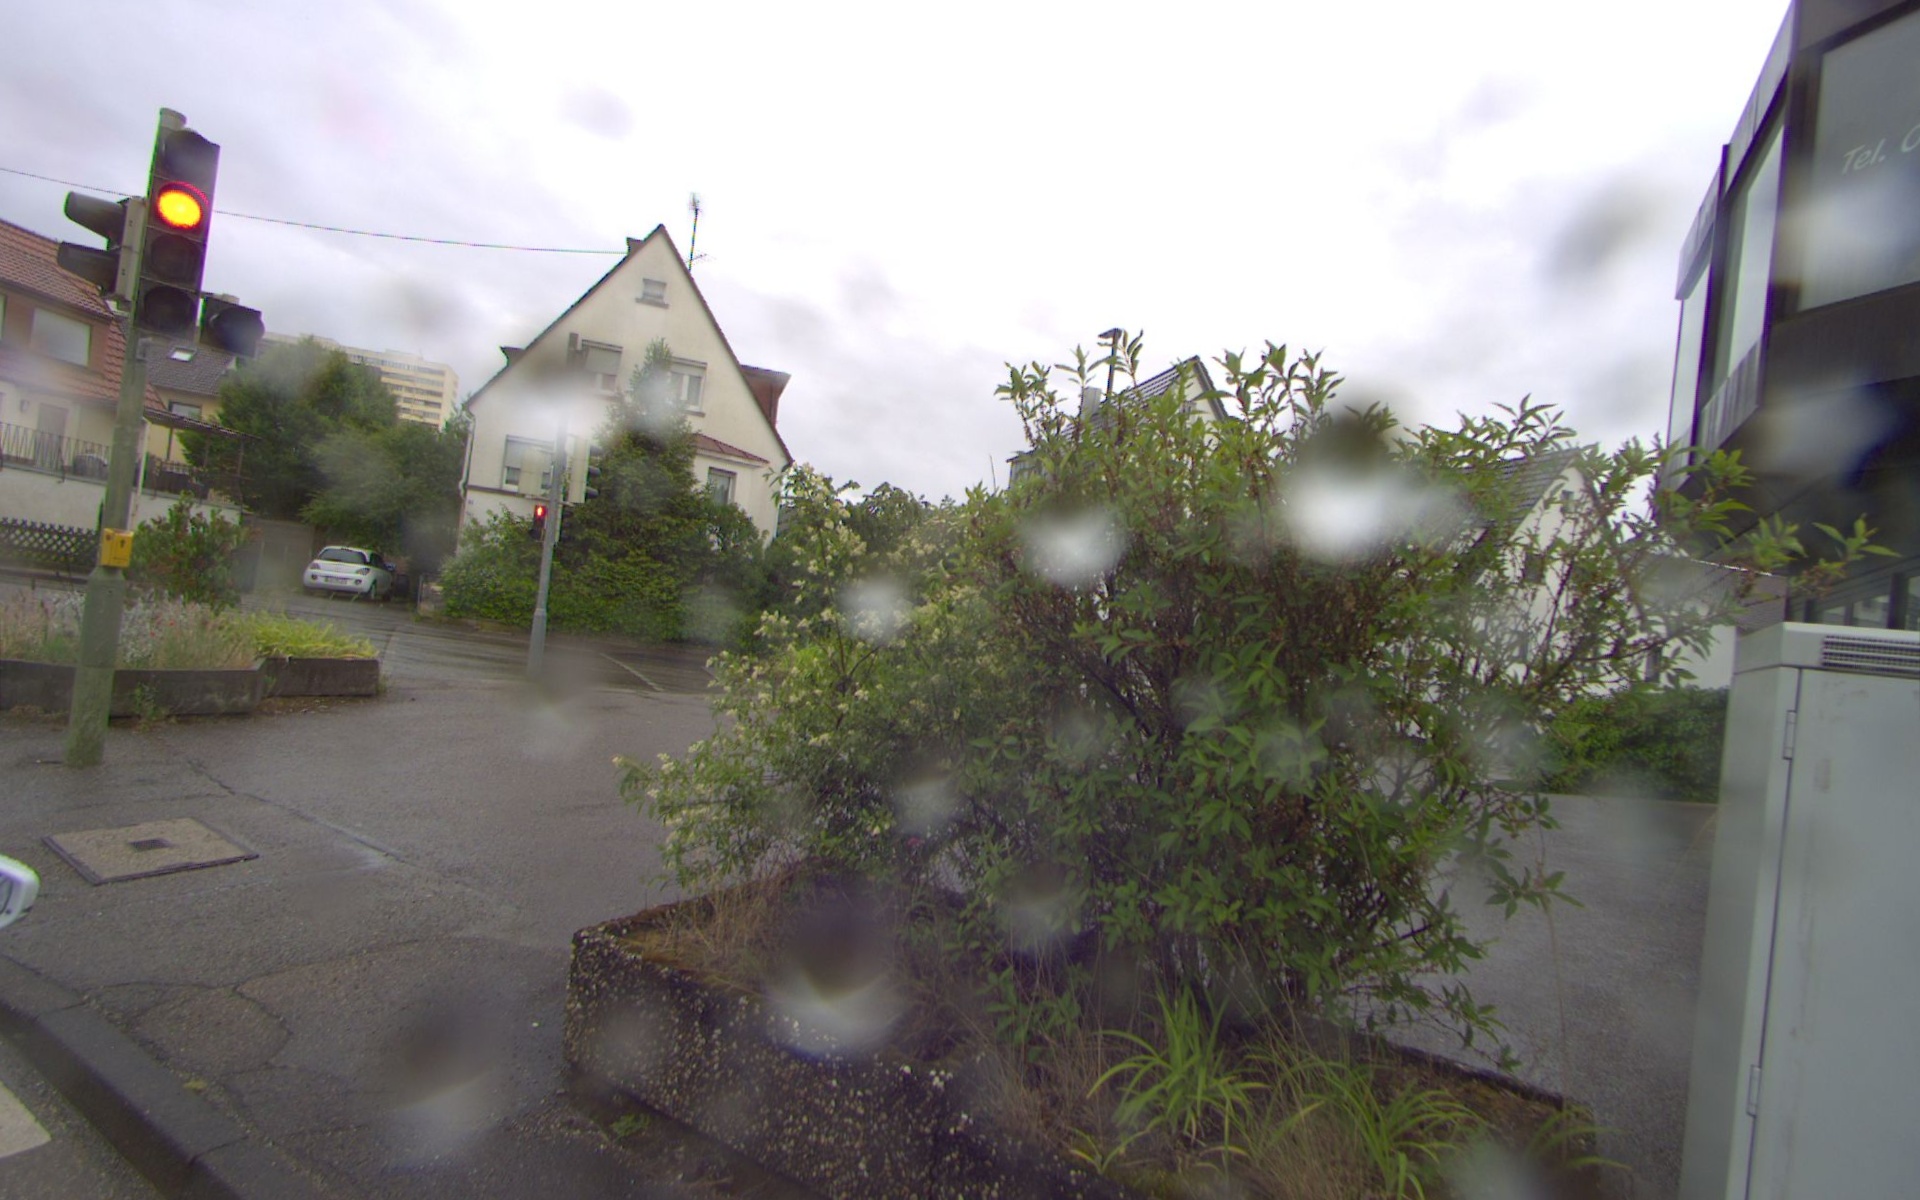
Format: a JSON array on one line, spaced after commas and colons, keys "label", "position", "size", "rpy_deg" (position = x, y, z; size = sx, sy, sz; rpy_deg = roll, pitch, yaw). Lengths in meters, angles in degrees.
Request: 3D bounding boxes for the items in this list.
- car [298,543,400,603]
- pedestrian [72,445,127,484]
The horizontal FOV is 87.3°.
[{"label": "car", "position": [-17.753, -0.752, 29.426], "size": [1.794, 1.378, 3.981], "rpy_deg": [8, -2, -22]}, {"label": "pedestrian", "position": [-24.269, -3.808, 28.375], "size": [0.623, 0.893, 0.920], "rpy_deg": [5, -2, 13]}]
